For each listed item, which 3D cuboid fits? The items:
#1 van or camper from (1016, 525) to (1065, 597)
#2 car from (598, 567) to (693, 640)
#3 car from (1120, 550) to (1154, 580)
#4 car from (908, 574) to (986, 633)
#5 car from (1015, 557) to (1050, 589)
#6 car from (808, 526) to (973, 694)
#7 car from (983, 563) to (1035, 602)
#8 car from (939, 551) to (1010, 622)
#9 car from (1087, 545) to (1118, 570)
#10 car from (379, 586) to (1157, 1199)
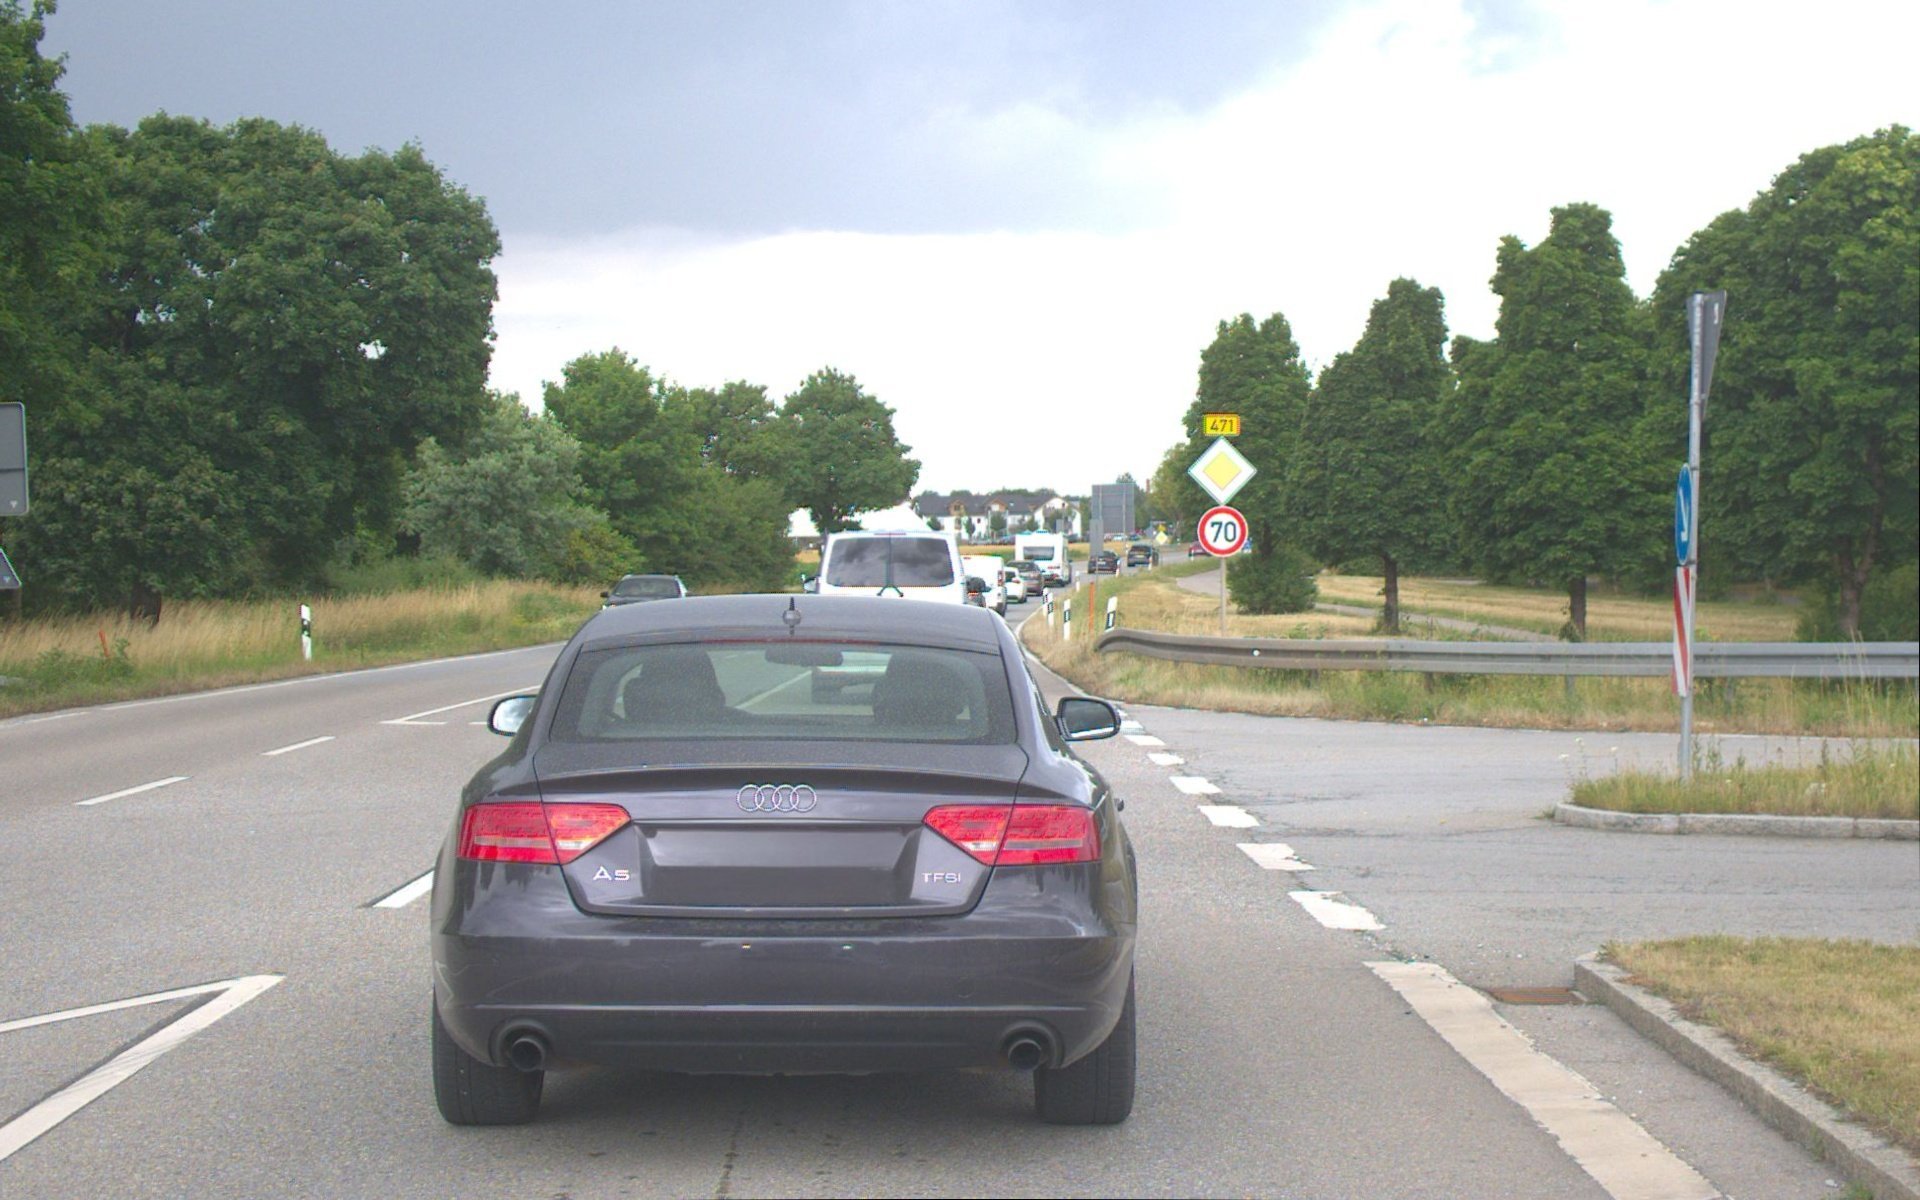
[{"bbox_3d":[3.937,-1.904,167.546,2.340,3.469,5.718,0,0,1],"label":"van or camper"},{"bbox_3d":[-6.725,0.045,73.790,1.711,1.517,4.000,0,1,-1],"label":"car"},{"bbox_3d":[12.012,-2.375,233.373,1.993,2.007,4.000,0,1,-1],"label":"car"},{"bbox_3d":[-0.314,0.082,87.713,1.796,1.459,3.248,0,1,3],"label":"car"},{"bbox_3d":[3.162,-1.178,149.280,1.258,1.349,3.465,0,1,5],"label":"car"},{"bbox_3d":[-0.804,0.076,40.716,1.838,1.876,4.000,1,1,-1],"label":"car"},{"bbox_3d":[1.947,-0.713,134.959,1.736,1.509,3.746,0,1,5],"label":"car"},{"bbox_3d":[0.466,-0.419,103.850,1.993,2.081,4.000,0,1,2],"label":"car"},{"bbox_3d":[8.569,-2.561,206.966,1.719,1.446,4.000,1,1,0],"label":"car"},{"bbox_3d":[-0.470,0.683,9.950,1.783,1.372,4.000,1,1,-1],"label":"car"}]
